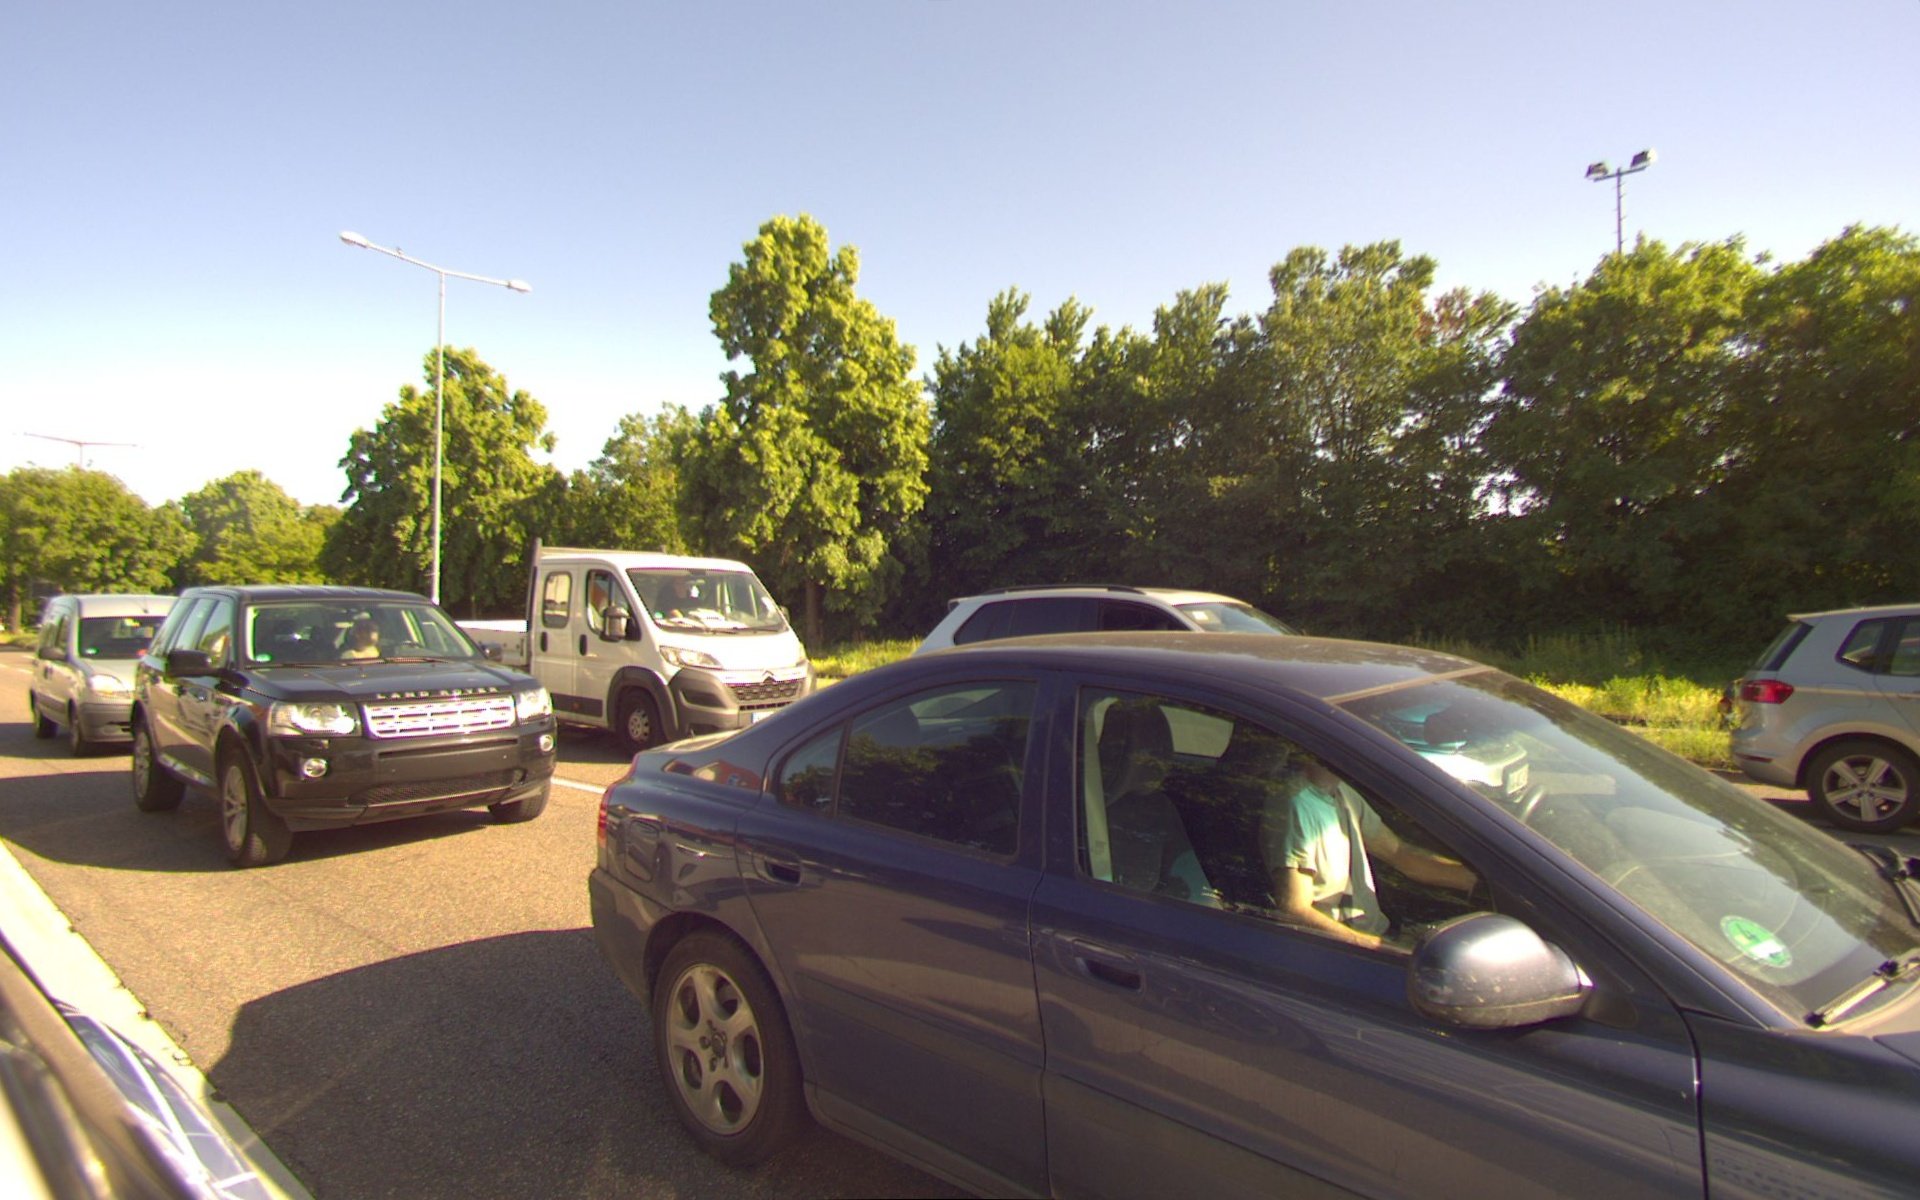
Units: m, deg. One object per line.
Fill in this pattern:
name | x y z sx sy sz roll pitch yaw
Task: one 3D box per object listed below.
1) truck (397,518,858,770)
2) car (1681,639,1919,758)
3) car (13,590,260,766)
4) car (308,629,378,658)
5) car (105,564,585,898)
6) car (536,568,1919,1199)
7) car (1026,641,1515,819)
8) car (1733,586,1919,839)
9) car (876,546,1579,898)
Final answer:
truck | -4.412 0.445 12.463 6.838 2.337 2.158 -1 -1 40
car | 12.506 1.305 13.963 4.001 1.521 1.668 -2 -3 41
car | -10.050 0.805 12.226 4.384 1.765 1.611 -1 -1 41
car | -33.198 2.322 54.441 4.500 1.536 1.869 -2 -3 40
car | -4.693 0.709 7.424 4.384 1.744 1.793 -1 -1 41
car | 0.894 0.698 2.429 4.454 1.463 1.757 -1 0 41
car | 3.033 1.161 10.546 4.550 1.440 1.811 -2 -3 41
car | 7.633 0.725 6.417 4.206 1.623 1.810 -2 -3 42
car | 1.651 0.673 7.197 4.422 1.723 1.973 -2 -3 41
